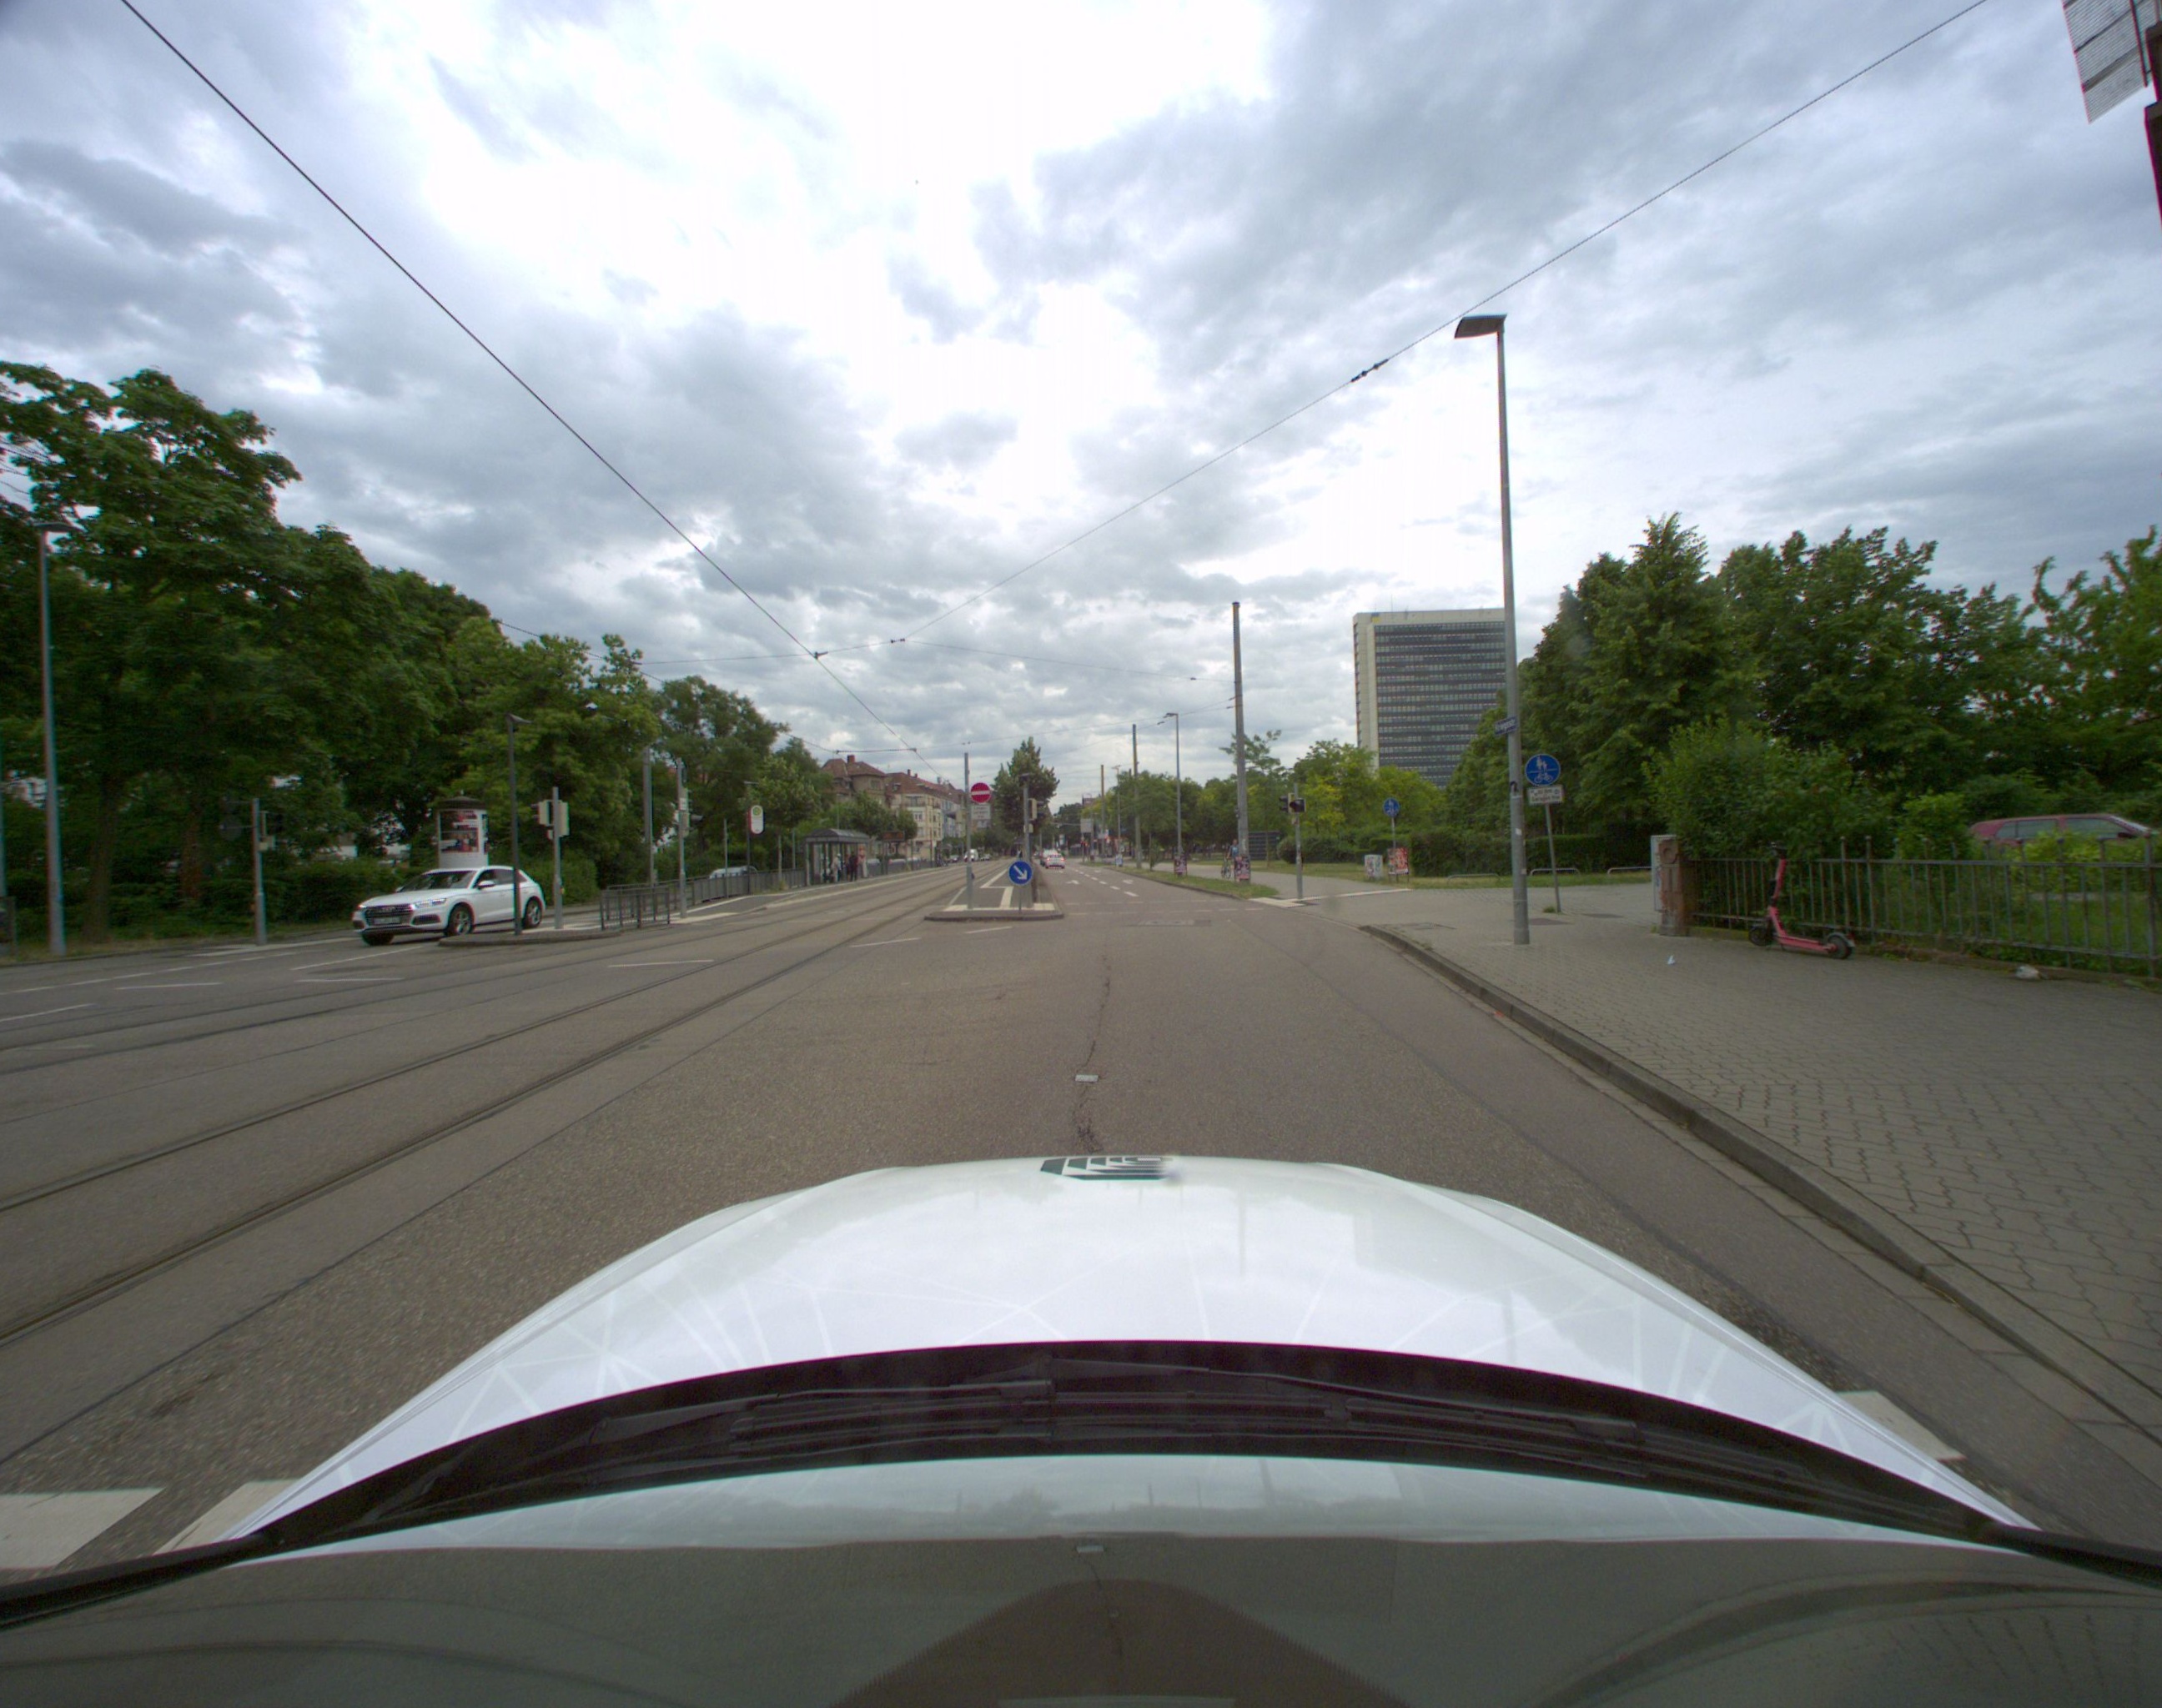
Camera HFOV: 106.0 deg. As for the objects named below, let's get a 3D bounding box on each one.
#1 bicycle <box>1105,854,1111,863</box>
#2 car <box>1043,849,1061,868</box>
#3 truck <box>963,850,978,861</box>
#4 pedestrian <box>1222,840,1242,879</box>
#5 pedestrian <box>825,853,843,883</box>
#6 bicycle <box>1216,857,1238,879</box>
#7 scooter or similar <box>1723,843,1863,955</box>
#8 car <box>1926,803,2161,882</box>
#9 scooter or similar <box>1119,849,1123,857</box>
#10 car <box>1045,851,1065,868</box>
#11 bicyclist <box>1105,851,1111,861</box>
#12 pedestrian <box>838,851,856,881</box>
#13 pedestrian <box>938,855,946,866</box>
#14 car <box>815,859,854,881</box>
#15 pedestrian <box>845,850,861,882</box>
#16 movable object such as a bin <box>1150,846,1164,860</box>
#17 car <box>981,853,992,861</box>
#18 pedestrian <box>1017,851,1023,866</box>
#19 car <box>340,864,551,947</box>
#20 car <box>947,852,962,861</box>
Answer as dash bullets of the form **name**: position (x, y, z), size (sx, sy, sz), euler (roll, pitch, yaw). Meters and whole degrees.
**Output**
- **bicycle**: position (3.575, 0.638, 107.621), size (0.677, 1.155, 1.898), euler (-2, 0, 0)
- **car**: position (-3.277, 0.501, 91.444), size (1.779, 1.962, 4.376), euler (-2, 0, -4)
- **truck**: position (-21.430, 0.298, 158.222), size (1.780, 2.032, 5.399), euler (-2, 0, 3)
- **pedestrian**: position (7.345, 0.255, 39.539), size (0.738, 1.869, 0.681), euler (-2, 0, -6)
- **pedestrian**: position (-13.763, 0.786, 45.385), size (0.674, 1.624, 0.635), euler (-2, 0, 6)
- **bicycle**: position (7.080, 0.660, 39.571), size (0.653, 1.003, 1.777), euler (-2, 0, -3)
- **scooter or similar**: position (7.819, 0.464, 9.000), size (0.375, 1.141, 1.197), euler (-2, 0, -6)
- **car**: position (20.236, -0.199, 16.868), size (1.697, 1.452, 3.451), euler (-2, -1, -30)
- **scooter or similar**: position (5.418, -0.123, 110.318), size (0.374, 1.141, 1.202), euler (-2, 0, 7)
- **car**: position (-2.402, 0.492, 76.637), size (1.777, 1.472, 4.008), euler (-2, 0, -1)
- **bicyclist**: position (3.547, 0.260, 107.627), size (0.677, 1.379, 0.727), euler (-2, 0, -1)
- **pedestrian**: position (-13.692, 0.695, 47.727), size (0.767, 1.660, 1.022), euler (-2, 0, -7)
- **pedestrian**: position (-17.106, 0.830, 100.443), size (0.864, 1.267, 0.692), euler (-2, 0, -6)
- **car**: position (-17.729, 1.110, 58.771), size (1.766, 1.493, 3.882), euler (-2, 0, -4)
- **pedestrian**: position (-12.537, 0.638, 44.818), size (0.700, 1.715, 0.696), euler (-2, 0, -12)
- **movable object such as a bin**: position (7.829, -0.100, 84.237), size (1.279, 1.390, 1.158), euler (-2, 0, -3)
- **car**: position (-19.949, 0.591, 172.045), size (1.763, 1.493, 3.889), euler (-2, 0, 3)
- **pedestrian**: position (-6.369, 0.468, 84.681), size (0.530, 1.557, 0.570), euler (-2, 0, 0)
- **car**: position (-14.889, 1.112, 19.466), size (1.768, 1.639, 4.528), euler (-2, 0, -6)
- **car**: position (-22.640, 0.483, 145.858), size (1.763, 1.493, 3.889), euler (-2, 0, 3)
